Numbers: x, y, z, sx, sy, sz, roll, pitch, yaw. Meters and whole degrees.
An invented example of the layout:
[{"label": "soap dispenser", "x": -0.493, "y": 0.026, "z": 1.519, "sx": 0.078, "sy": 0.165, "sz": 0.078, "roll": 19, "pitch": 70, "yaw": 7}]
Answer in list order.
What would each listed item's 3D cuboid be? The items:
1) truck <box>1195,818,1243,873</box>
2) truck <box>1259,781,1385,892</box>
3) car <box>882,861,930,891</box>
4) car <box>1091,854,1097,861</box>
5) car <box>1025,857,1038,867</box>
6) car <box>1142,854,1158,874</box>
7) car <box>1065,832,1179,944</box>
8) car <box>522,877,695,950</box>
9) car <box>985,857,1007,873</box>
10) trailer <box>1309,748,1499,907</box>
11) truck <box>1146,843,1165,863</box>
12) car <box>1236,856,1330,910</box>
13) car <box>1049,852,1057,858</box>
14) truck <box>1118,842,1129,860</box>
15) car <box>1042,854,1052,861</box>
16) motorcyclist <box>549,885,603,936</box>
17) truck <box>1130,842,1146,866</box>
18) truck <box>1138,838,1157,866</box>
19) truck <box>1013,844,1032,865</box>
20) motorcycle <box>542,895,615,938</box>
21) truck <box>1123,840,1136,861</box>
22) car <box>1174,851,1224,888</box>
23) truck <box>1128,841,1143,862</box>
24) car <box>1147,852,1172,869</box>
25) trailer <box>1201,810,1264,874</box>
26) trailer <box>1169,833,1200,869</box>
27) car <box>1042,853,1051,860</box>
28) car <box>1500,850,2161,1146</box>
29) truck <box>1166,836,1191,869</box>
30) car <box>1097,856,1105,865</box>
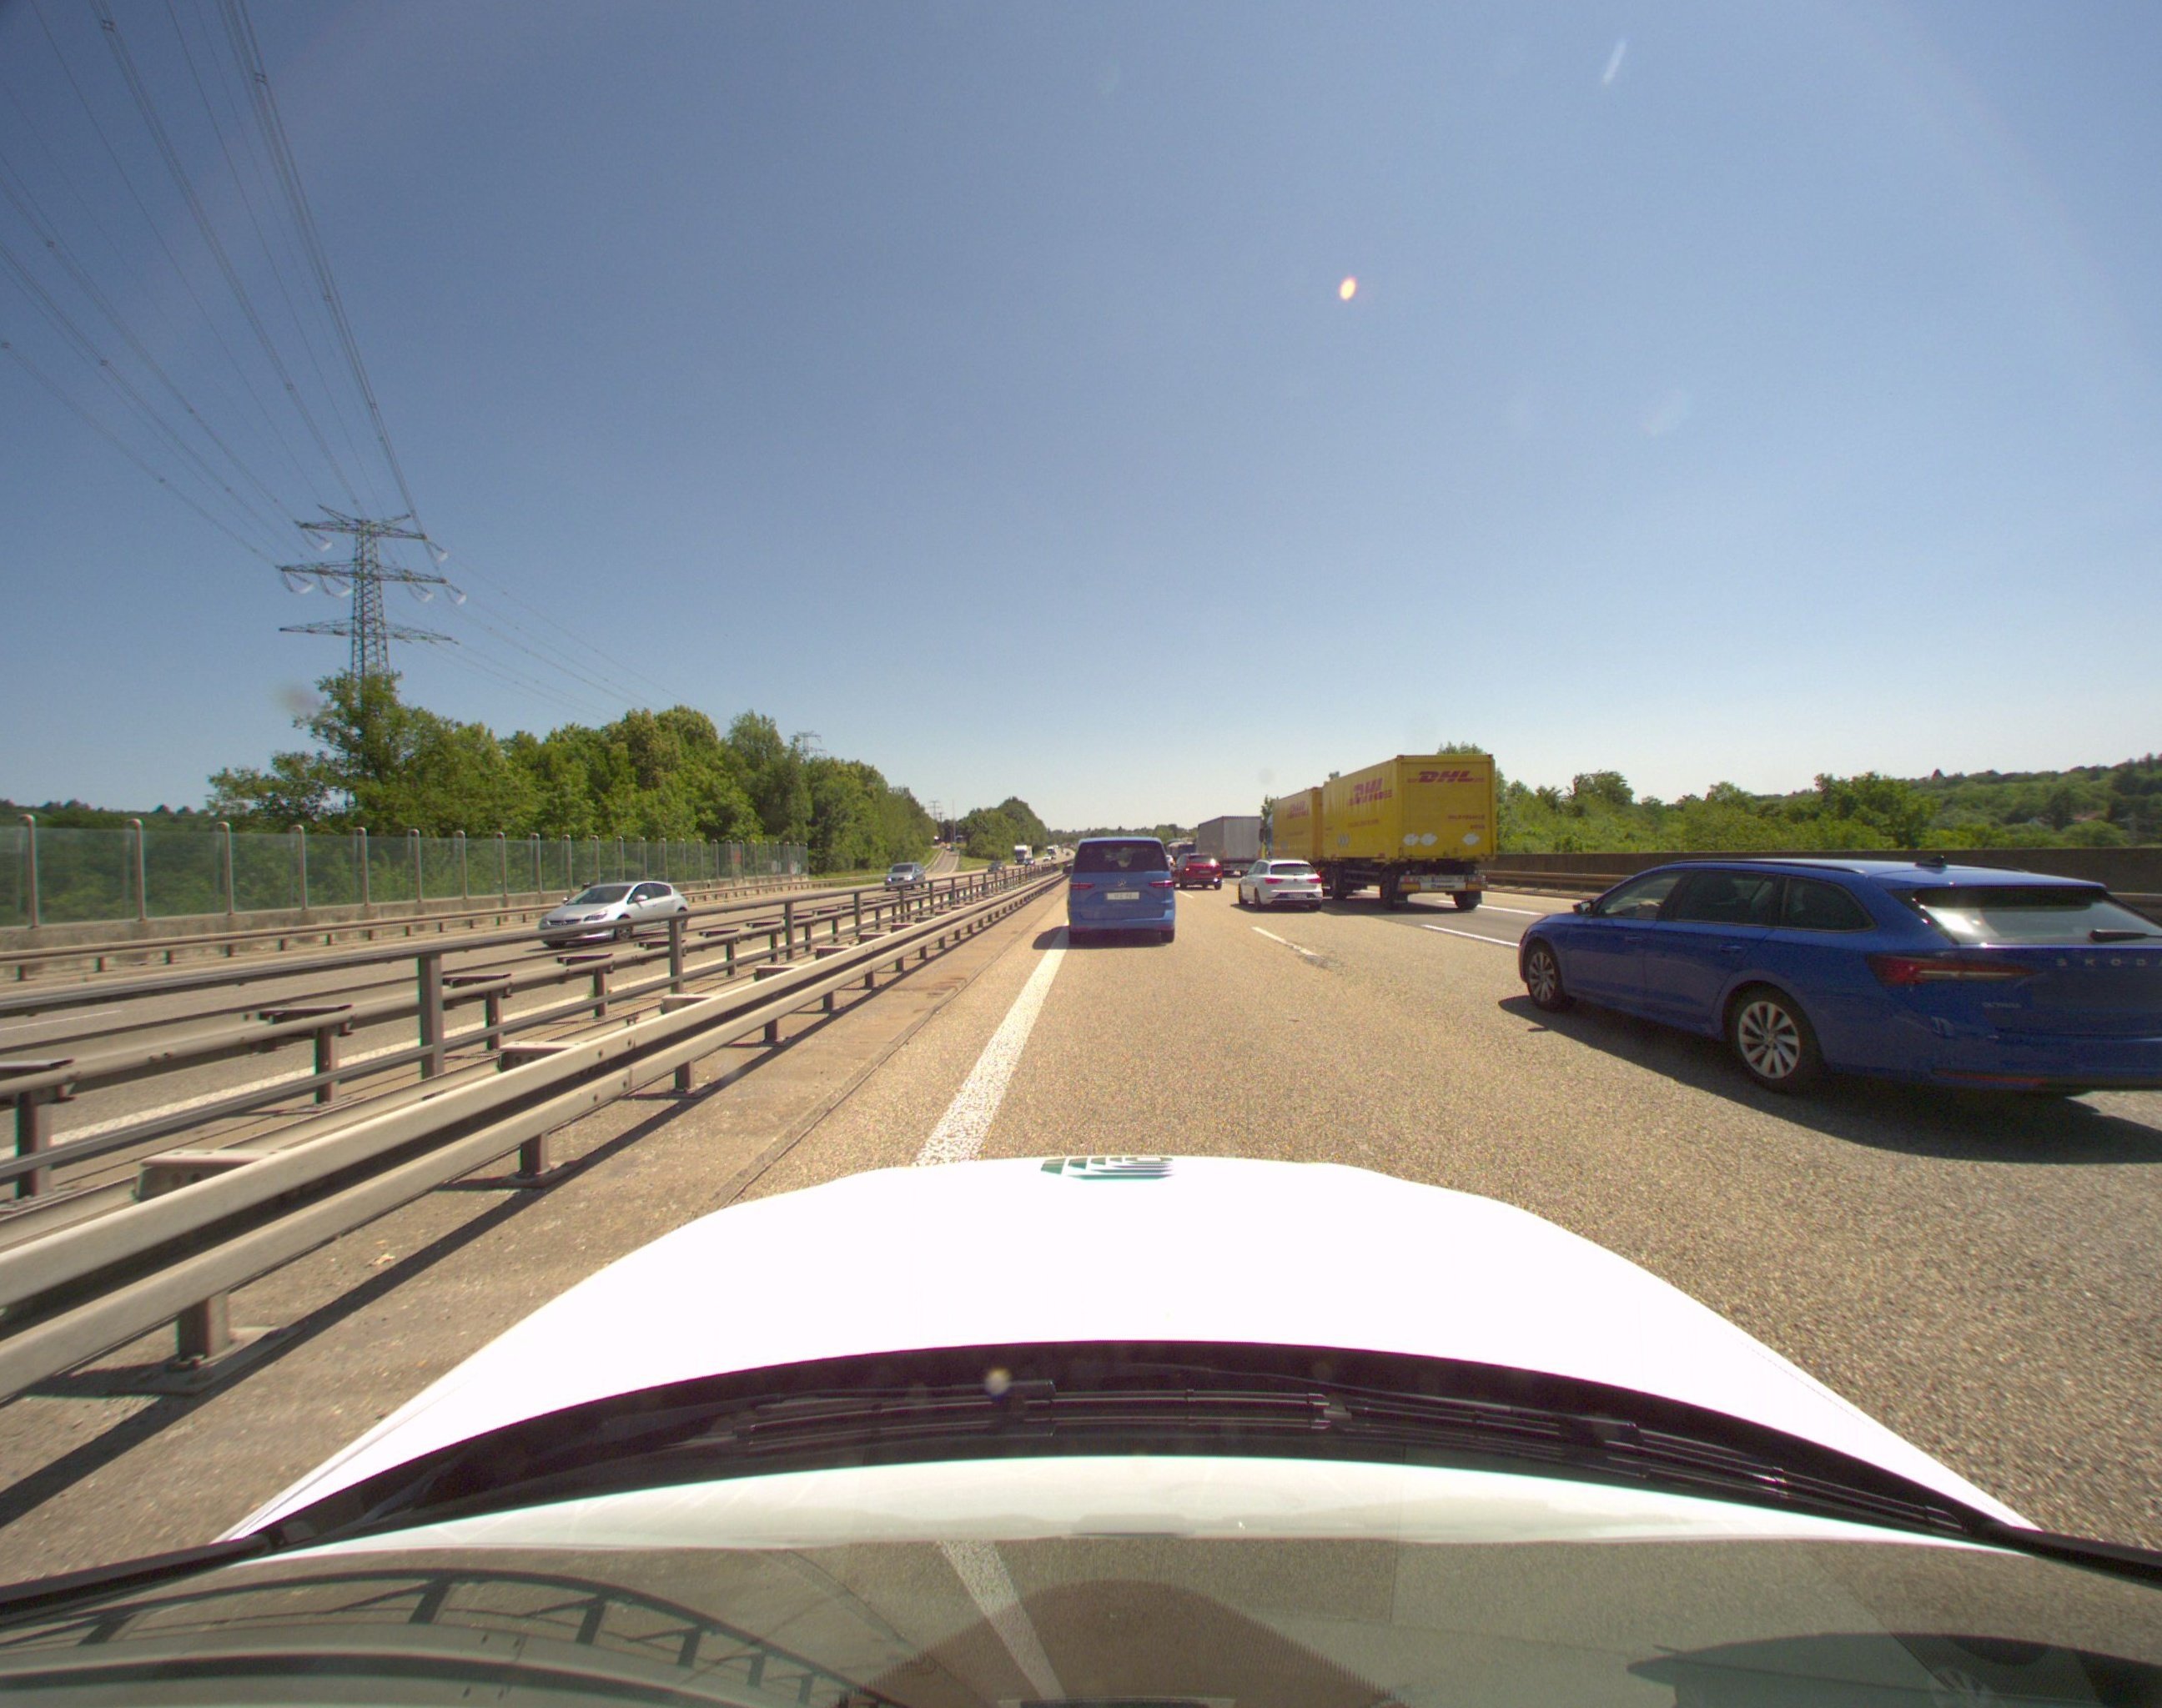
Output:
[{"label": "truck", "x": 10.722, "y": -0.592, "z": 64.070, "sx": 2.758, "sy": 4.095, "sz": 6.986, "roll": 0, "pitch": -1, "yaw": 2}, {"label": "truck", "x": 9.924, "y": -0.576, "z": 34.878, "sx": 2.711, "sy": 4.055, "sz": 10.342, "roll": 0, "pitch": -1, "yaw": 2}, {"label": "car", "x": -10.552, "y": 1.301, "z": 49.421, "sx": 1.823, "sy": 1.609, "sz": 4.170, "roll": -5, "pitch": 0, "yaw": 1}, {"label": "car", "x": 3.504, "y": 0.967, "z": 217.204, "sx": 1.733, "sy": 1.911, "sz": 3.682, "roll": 0, "pitch": -1, "yaw": 2}, {"label": "car", "x": -8.834, "y": 1.418, "z": 145.090, "sx": 1.823, "sy": 1.609, "sz": 4.170, "roll": -3, "pitch": 0, "yaw": 1}, {"label": "car", "x": 7.308, "y": 1.073, "z": 86.268, "sx": 1.577, "sy": 2.014, "sz": 3.495, "roll": 0, "pitch": -1, "yaw": 2}, {"label": "car", "x": 0.756, "y": 0.580, "z": 15.621, "sx": 1.875, "sy": 1.837, "sz": 4.002, "roll": -1, "pitch": 0, "yaw": 2}, {"label": "car", "x": -11.666, "y": 1.409, "z": 20.479, "sx": 1.709, "sy": 1.434, "sz": 4.177, "roll": -4, "pitch": -1, "yaw": 2}, {"label": "car", "x": -9.659, "y": 1.242, "z": 92.389, "sx": 1.823, "sy": 1.609, "sz": 4.170, "roll": -4, "pitch": 0, "yaw": 1}, {"label": "trailer", "x": 9.486, "y": -0.616, "z": 25.233, "sx": 2.690, "sy": 4.023, "sz": 8.936, "roll": 0, "pitch": -1, "yaw": 3}, {"label": "truck", "x": 12.347, "y": -0.085, "z": 135.532, "sx": 2.347, "sy": 3.218, "sz": 9.740, "roll": 0, "pitch": -1, "yaw": 1}, {"label": "car", "x": 5.676, "y": 0.766, "z": 23.344, "sx": 1.774, "sy": 1.387, "sz": 4.190, "roll": -1, "pitch": 0, "yaw": 2}, {"label": "car", "x": -8.229, "y": 0.368, "z": 241.398, "sx": 1.915, "sy": 1.689, "sz": 4.123, "roll": -4, "pitch": 0, "yaw": 1}, {"label": "truck", "x": 12.531, "y": -0.860, "z": 242.393, "sx": 2.824, "sy": 5.040, "sz": 12.912, "roll": 0, "pitch": -1, "yaw": 1}, {"label": "car", "x": -8.468, "y": 0.850, "z": 202.613, "sx": 1.915, "sy": 1.689, "sz": 4.123, "roll": -4, "pitch": 0, "yaw": 1}, {"label": "motorcyclist", "x": -15.474, "y": 1.717, "z": 24.973, "sx": 0.894, "sy": 1.441, "sz": 1.083, "roll": -2, "pitch": 1, "yaw": 1}, {"label": "truck", "x": 12.396, "y": 0.030, "z": 178.198, "sx": 2.824, "sy": 5.040, "sz": 11.816, "roll": 0, "pitch": -1, "yaw": 1}, {"label": "truck", "x": 12.537, "y": -0.273, "z": 155.022, "sx": 2.824, "sy": 5.040, "sz": 11.145, "roll": 0, "pitch": -1, "yaw": 1}, {"label": "truck", "x": -12.396, "y": 0.059, "z": 173.246, "sx": 2.978, "sy": 4.279, "sz": 7.191, "roll": -3, "pitch": 0, "yaw": 1}, {"label": "motorcycle", "x": -15.461, "y": 1.905, "z": 25.135, "sx": 0.699, "sy": 1.070, "sz": 2.306, "roll": -2, "pitch": 1, "yaw": 2}, {"label": "truck", "x": 12.916, "y": -0.867, "z": 216.549, "sx": 2.824, "sy": 5.373, "sz": 12.554, "roll": 0, "pitch": -1, "yaw": 1}, {"label": "car", "x": 5.383, "y": 0.686, "z": 37.522, "sx": 1.844, "sy": 1.608, "sz": 4.002, "roll": -1, "pitch": 0, "yaw": 2}, {"label": "truck", "x": 13.177, "y": -0.566, "z": 198.307, "sx": 2.824, "sy": 4.886, "sz": 13.219, "roll": 0, "pitch": -1, "yaw": 1}, {"label": "car", "x": 6.807, "y": 0.564, "z": 70.968, "sx": 1.832, "sy": 1.414, "sz": 4.000, "roll": -1, "pitch": 0, "yaw": 0}, {"label": "trailer", "x": 10.535, "y": -0.696, "z": 57.949, "sx": 2.744, "sy": 4.146, "sz": 11.316, "roll": 0, "pitch": -1, "yaw": 2}, {"label": "trailer", "x": 11.403, "y": -0.196, "z": 90.570, "sx": 2.371, "sy": 3.744, "sz": 11.191, "roll": 0, "pitch": -1, "yaw": 2}, {"label": "car", "x": -8.652, "y": 0.627, "z": 203.244, "sx": 1.915, "sy": 1.689, "sz": 4.123, "roll": -4, "pitch": 0, "yaw": 1}, {"label": "car", "x": 5.166, "y": 0.715, "z": 6.250, "sx": 1.703, "sy": 1.440, "sz": 4.502, "roll": -1, "pitch": 0, "yaw": 2}, {"label": "truck", "x": 11.532, "y": -0.107, "z": 96.565, "sx": 2.359, "sy": 3.722, "sz": 6.035, "roll": 0, "pitch": -1, "yaw": 1}, {"label": "car", "x": 4.667, "y": 1.477, "z": 188.499, "sx": 1.986, "sy": 2.014, "sz": 4.001, "roll": 0, "pitch": -1, "yaw": 2}]
